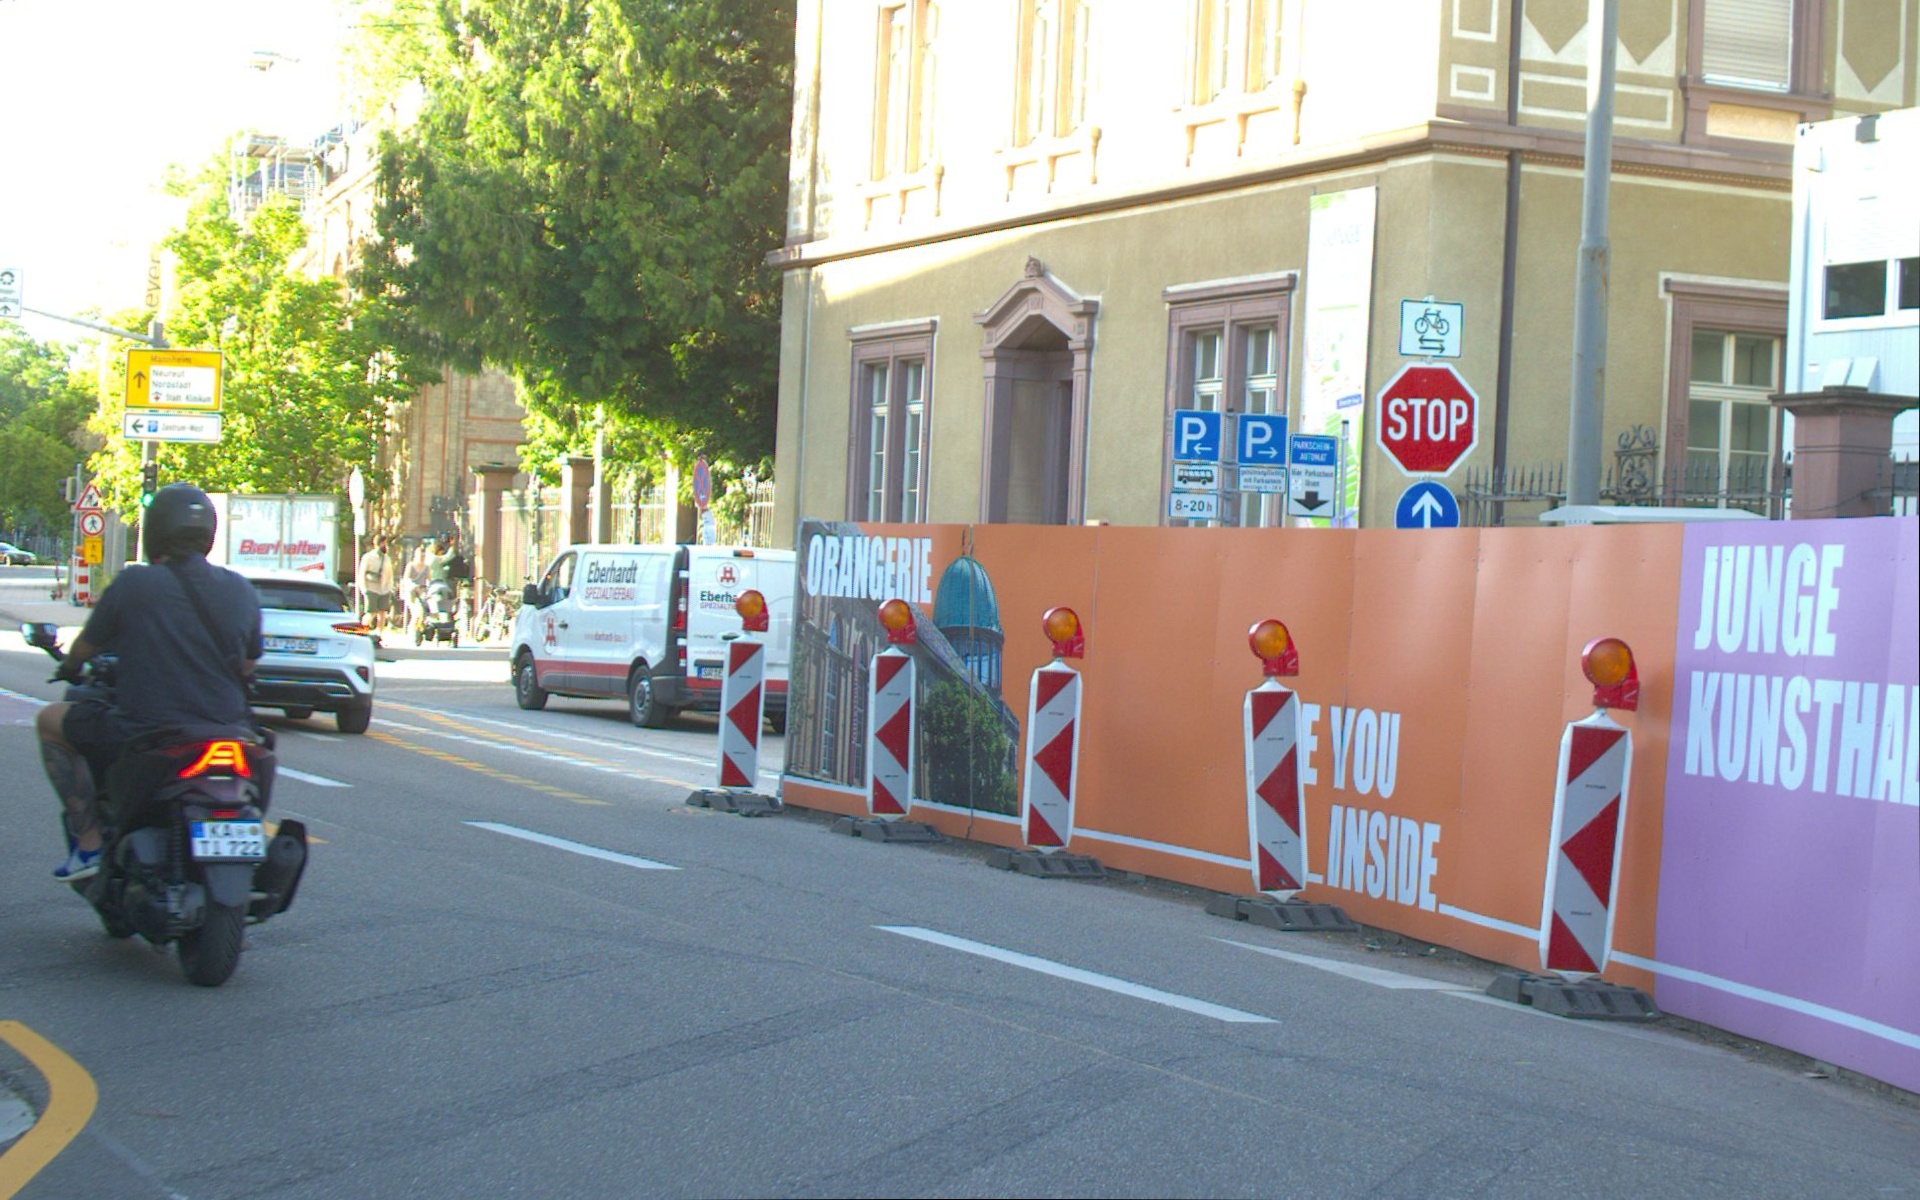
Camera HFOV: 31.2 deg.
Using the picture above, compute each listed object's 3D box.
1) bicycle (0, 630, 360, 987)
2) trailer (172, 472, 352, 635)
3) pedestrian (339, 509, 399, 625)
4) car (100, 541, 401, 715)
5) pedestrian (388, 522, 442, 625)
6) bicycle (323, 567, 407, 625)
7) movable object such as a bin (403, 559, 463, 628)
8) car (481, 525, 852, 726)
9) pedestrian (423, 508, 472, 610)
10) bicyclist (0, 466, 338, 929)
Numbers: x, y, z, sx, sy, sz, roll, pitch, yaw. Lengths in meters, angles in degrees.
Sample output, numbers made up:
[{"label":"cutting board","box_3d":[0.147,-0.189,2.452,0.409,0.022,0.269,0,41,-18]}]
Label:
[{"label":"bicycle","box_3d":[-2.895,0.692,12.283,0.870,1.039,2.454,5,0,-23]},{"label":"trailer","box_3d":[-11.442,-0.788,56.114,2.079,2.519,4.493,1,1,-21]},{"label":"pedestrian","box_3d":[-9.906,-0.558,57.606,0.715,1.888,0.890,2,1,-25]},{"label":"car","box_3d":[-6.752,0.227,32.407,1.993,1.448,4.001,3,0,-23]},{"label":"pedestrian","box_3d":[-9.225,-0.454,58.153,0.682,1.695,0.694,2,1,-24]},{"label":"bicycle","box_3d":[-11.288,-0.067,65.229,1.465,1.035,0.479,2,1,-22]},{"label":"movable object such as a bin","box_3d":[-8.797,-0.108,57.362,0.711,1.113,1.051,1,2,-25]},{"label":"car","box_3d":[-3.359,0.226,38.113,2.014,1.939,5.482,4,-1,-28]},{"label":"pedestrian","box_3d":[-9.144,-0.735,61.307,0.639,1.762,0.738,3,0,-20]},{"label":"bicyclist","box_3d":[-2.853,0.327,12.266,0.867,1.518,1.231,5,-1,-23]}]
